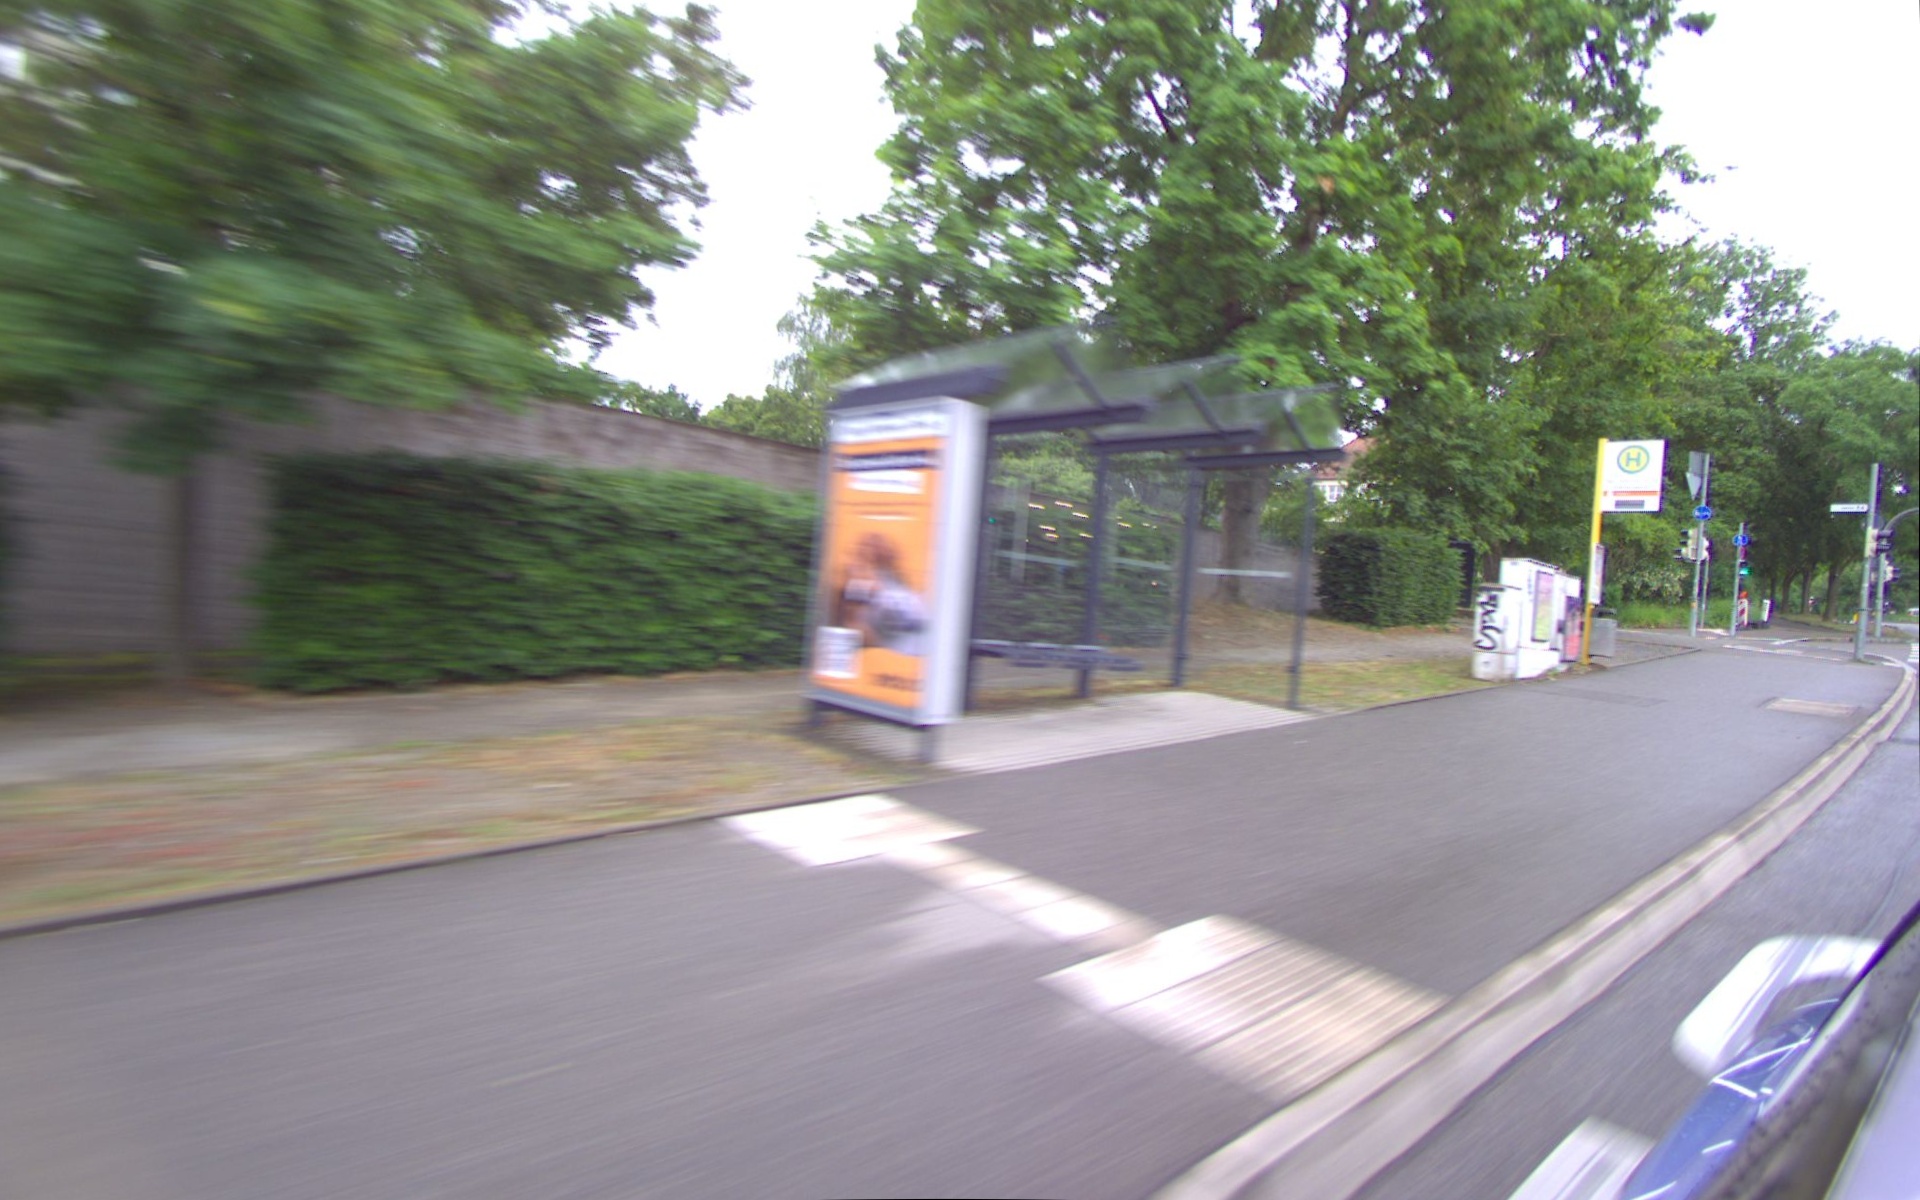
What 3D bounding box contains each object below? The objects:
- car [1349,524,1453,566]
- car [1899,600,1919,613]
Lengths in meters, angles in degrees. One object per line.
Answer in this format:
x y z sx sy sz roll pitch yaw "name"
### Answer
18.742 -2.355 43.023 3.871 1.566 1.863 4 2 29 "car"
139.733 0.990 148.885 1.991 1.771 3.943 3 2 39 "car"
